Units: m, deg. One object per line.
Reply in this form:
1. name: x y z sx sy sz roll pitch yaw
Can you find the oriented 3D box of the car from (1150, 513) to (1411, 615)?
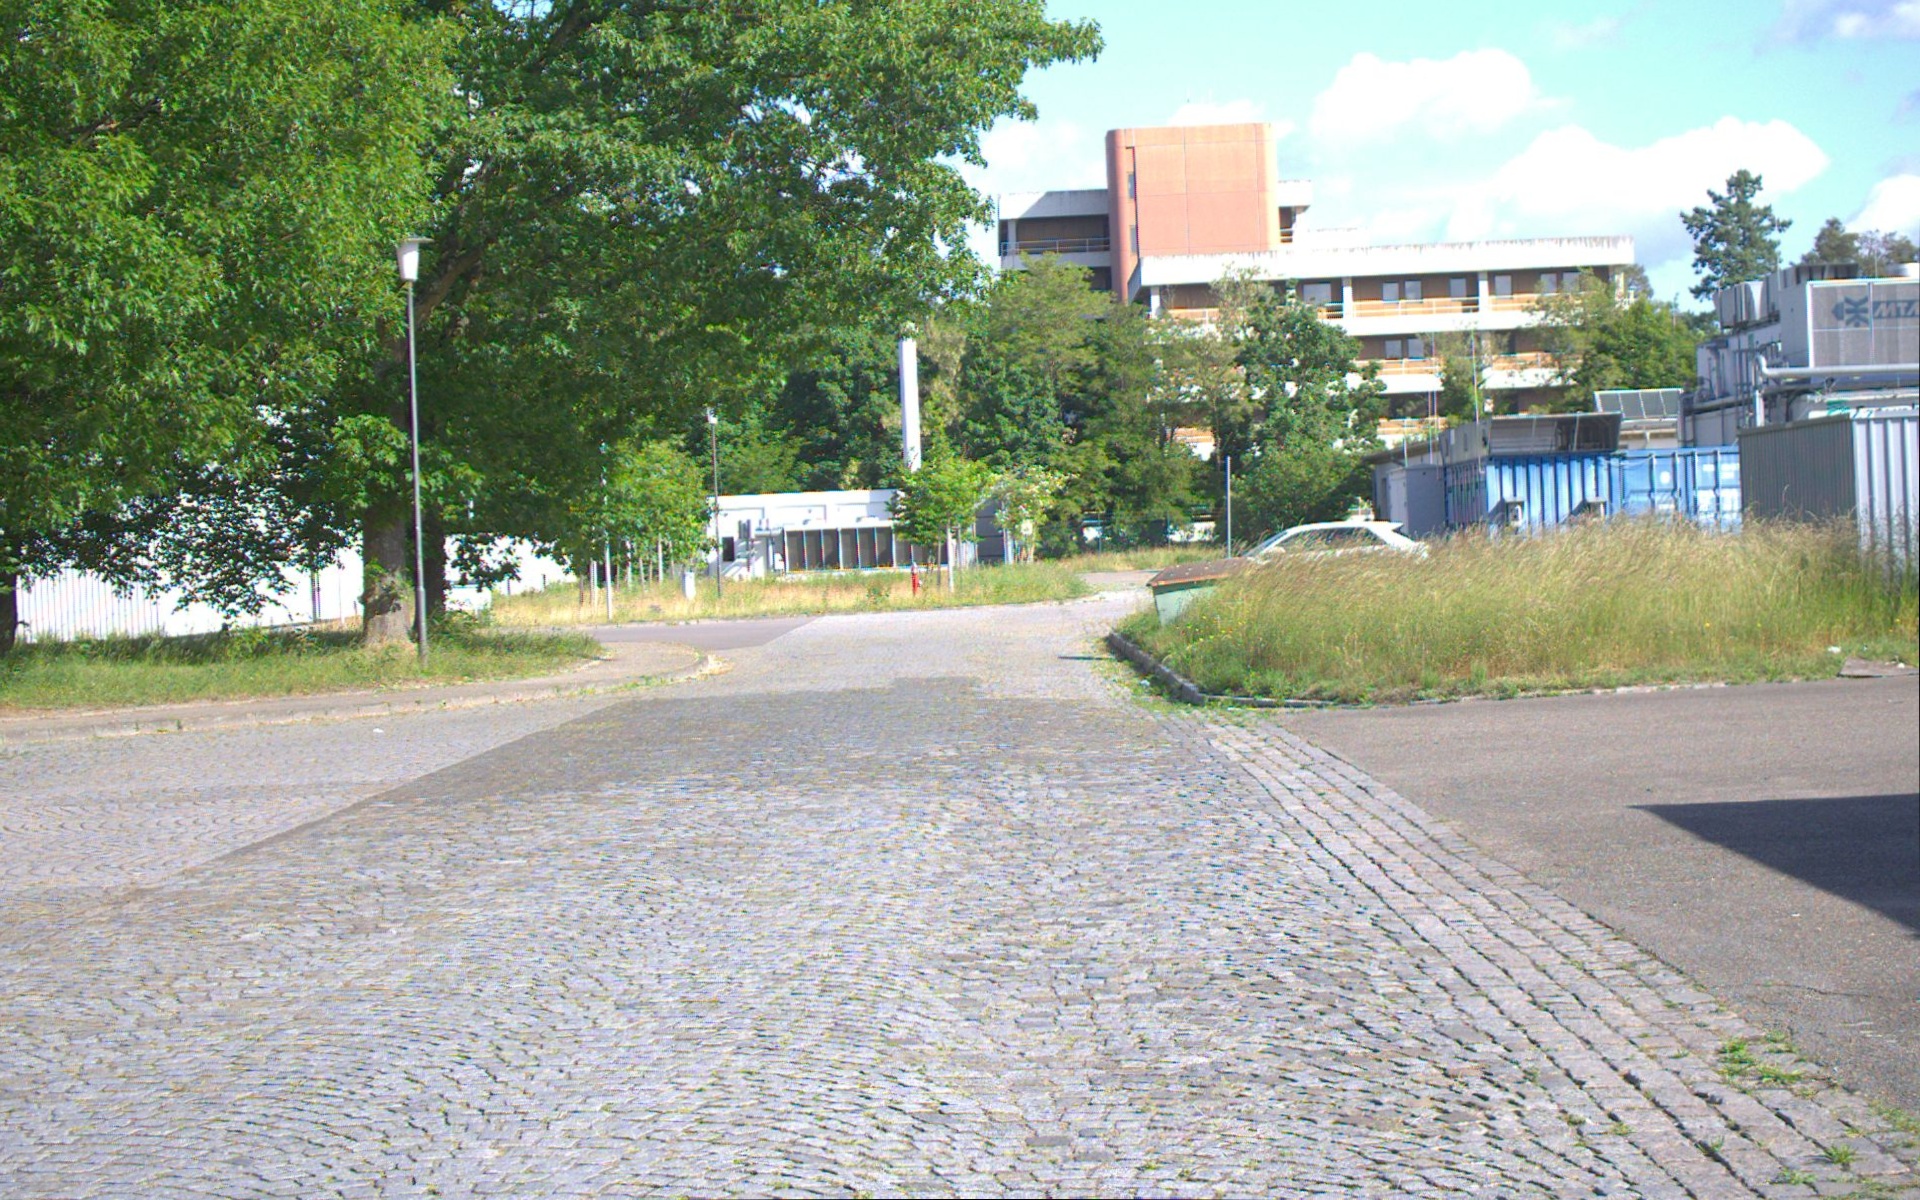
1. car: 5.866 -0.673 63.299 4.588 1.672 1.875 -2 1 0
